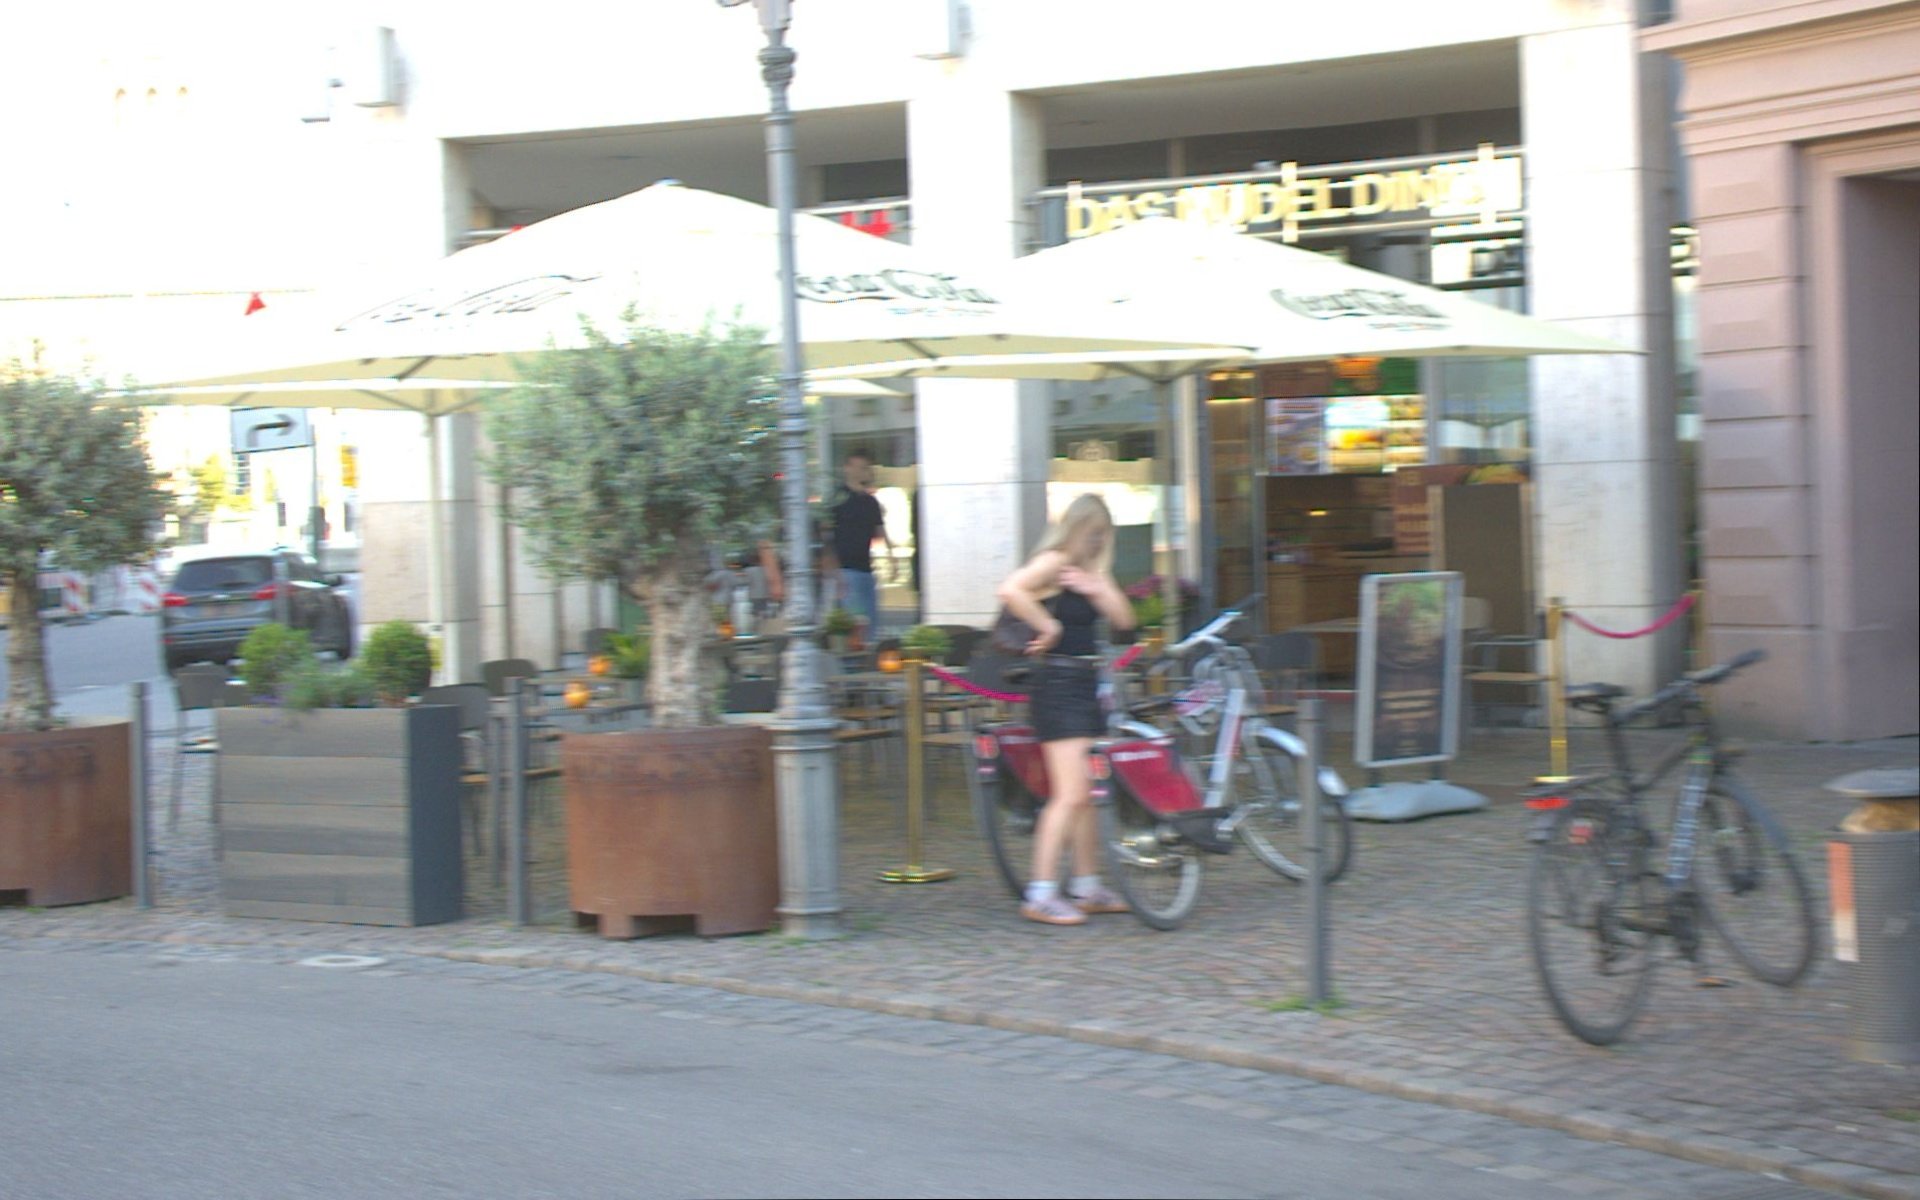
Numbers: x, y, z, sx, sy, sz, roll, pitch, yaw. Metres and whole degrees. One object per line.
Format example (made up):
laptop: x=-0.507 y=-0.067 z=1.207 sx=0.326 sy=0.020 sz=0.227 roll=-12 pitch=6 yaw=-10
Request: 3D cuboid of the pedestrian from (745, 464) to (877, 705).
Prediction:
pedestrian: x=-1.090 y=-0.121 z=25.241 sx=0.716 sy=1.739 sz=0.669 roll=-1 pitch=2 yaw=21

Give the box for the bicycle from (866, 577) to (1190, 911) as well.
bicycle: x=0.310 y=0.534 z=13.784 sx=0.606 sy=1.124 sz=1.904 roll=-1 pitch=4 yaw=22

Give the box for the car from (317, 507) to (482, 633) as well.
car: x=-8.129 y=-0.467 z=50.154 sx=1.768 sy=1.632 sz=4.058 roll=-5 pitch=2 yaw=-2

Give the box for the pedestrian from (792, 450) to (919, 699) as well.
pedestrian: x=-0.790 y=-0.196 z=26.027 sx=0.716 sy=1.855 sz=0.669 roll=-1 pitch=2 yaw=21

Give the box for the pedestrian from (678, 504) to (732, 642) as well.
pedestrian: x=-3.358 y=-0.362 z=45.277 sx=0.633 sy=1.768 sz=0.775 roll=-2 pitch=3 yaw=-3

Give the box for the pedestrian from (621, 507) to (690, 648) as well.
pedestrian: x=-3.760 y=-0.283 z=42.472 sx=0.764 sy=1.675 sz=0.877 roll=-2 pitch=3 yaw=-3

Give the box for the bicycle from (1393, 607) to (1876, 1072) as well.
bicycle: x=2.057 y=0.654 z=10.267 sx=0.607 sy=1.124 sz=1.902 roll=0 pitch=4 yaw=37

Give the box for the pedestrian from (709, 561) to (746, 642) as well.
pedestrian: x=-2.907 y=0.015 z=43.038 sx=0.419 sy=0.982 sz=0.526 roll=-2 pitch=3 yaw=-3

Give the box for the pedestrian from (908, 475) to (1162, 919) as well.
pedestrian: x=0.285 y=0.340 z=12.681 sx=0.748 sy=1.583 sz=0.714 roll=-1 pitch=2 yaw=16

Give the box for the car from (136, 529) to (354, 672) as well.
car: x=-8.589 y=-0.042 z=41.627 sx=1.795 sy=1.485 sz=4.193 roll=-5 pitch=2 yaw=-2

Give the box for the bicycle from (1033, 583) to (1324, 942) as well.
bicycle: x=0.855 y=0.565 z=12.892 sx=0.606 sy=1.124 sz=1.905 roll=-1 pitch=4 yaw=18

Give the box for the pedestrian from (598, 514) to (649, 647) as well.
pedestrian: x=-4.374 y=-0.258 z=44.688 sx=0.590 sy=1.692 sz=0.696 roll=-2 pitch=2 yaw=-5
